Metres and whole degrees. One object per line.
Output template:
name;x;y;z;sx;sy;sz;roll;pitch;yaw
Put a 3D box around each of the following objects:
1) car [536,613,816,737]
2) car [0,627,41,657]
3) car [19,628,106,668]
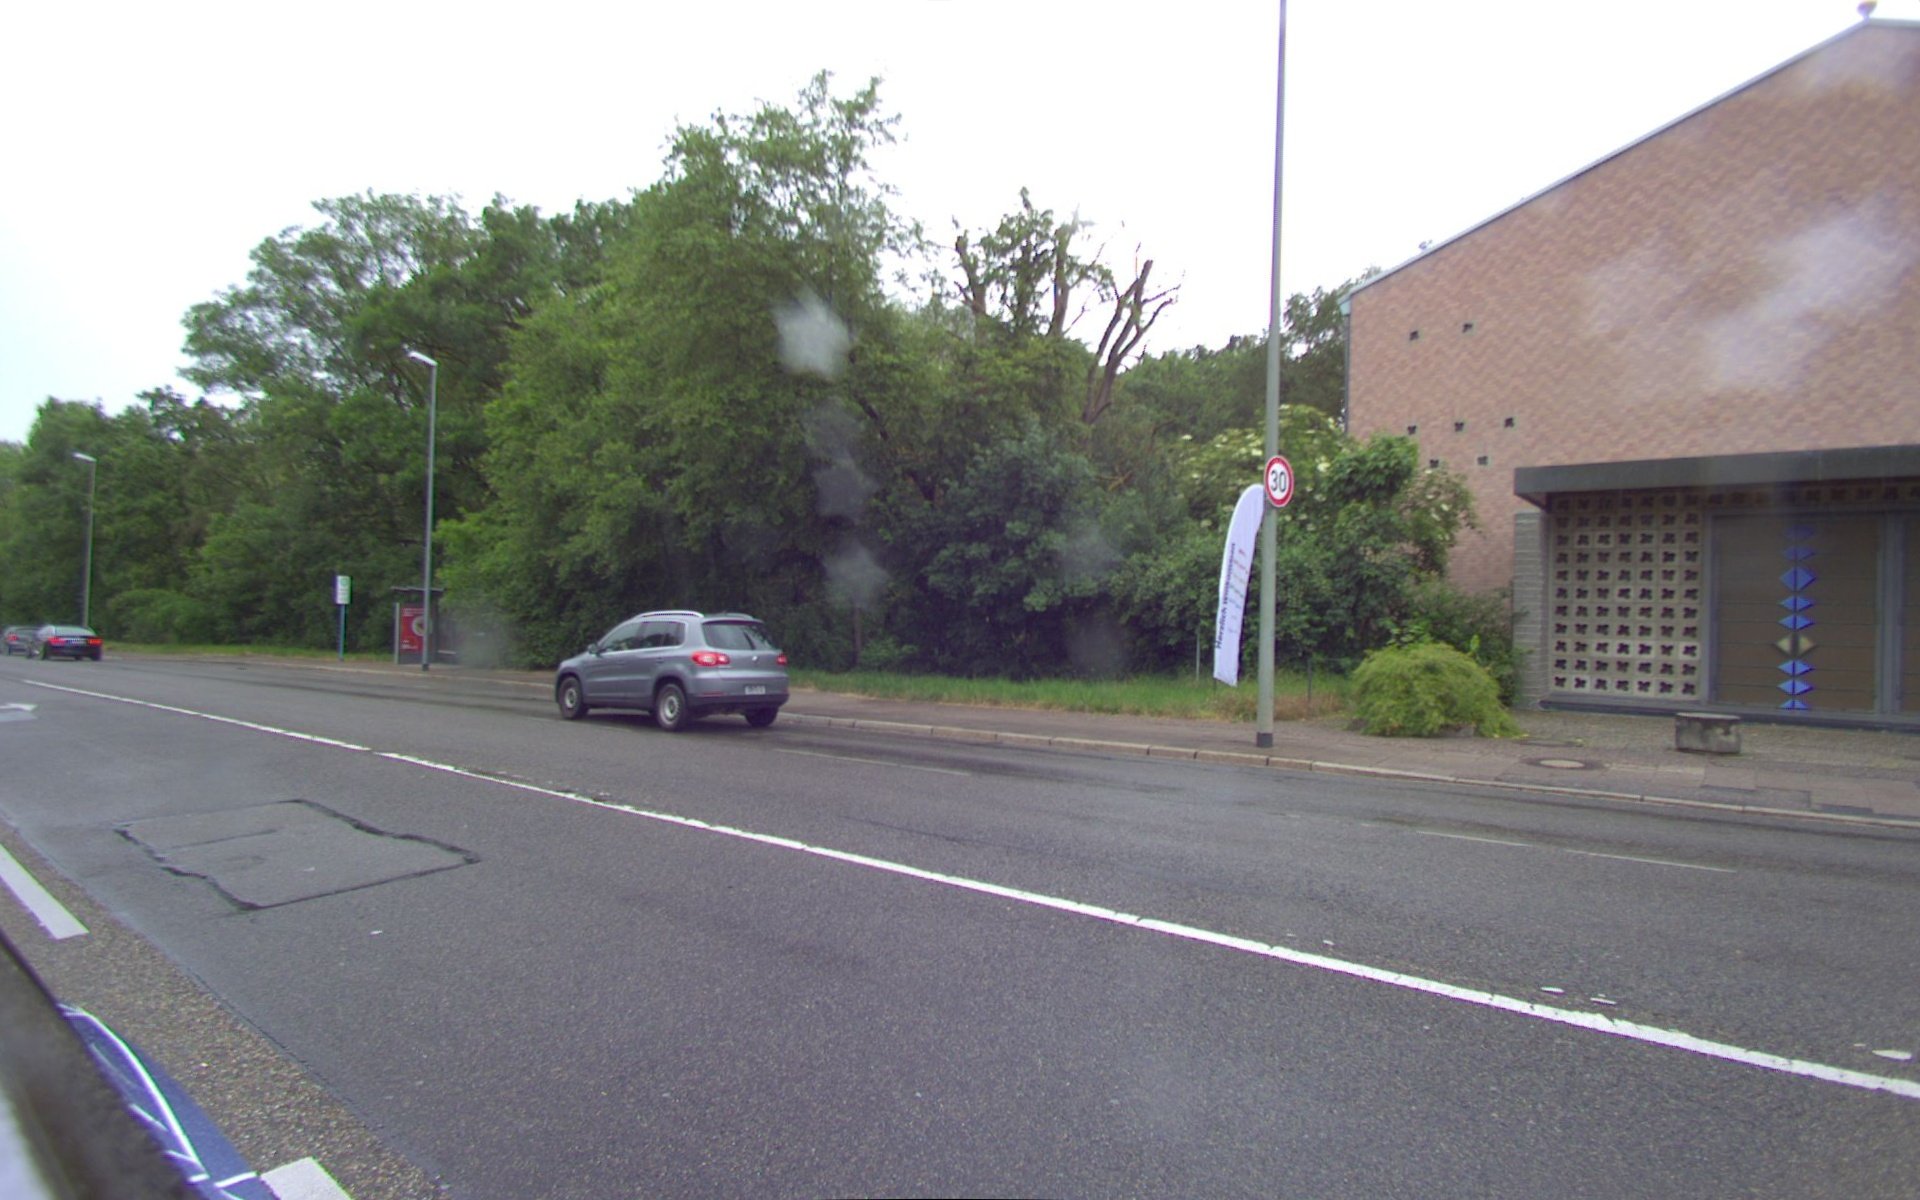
car;-4.369;1.048;15.268;4.312;1.603;1.890;-1;-3;38
car;-47.235;2.071;50.374;3.901;1.440;1.578;-1;-3;39
car;-37.709;1.997;42.459;4.944;1.465;1.891;-1;-5;40
